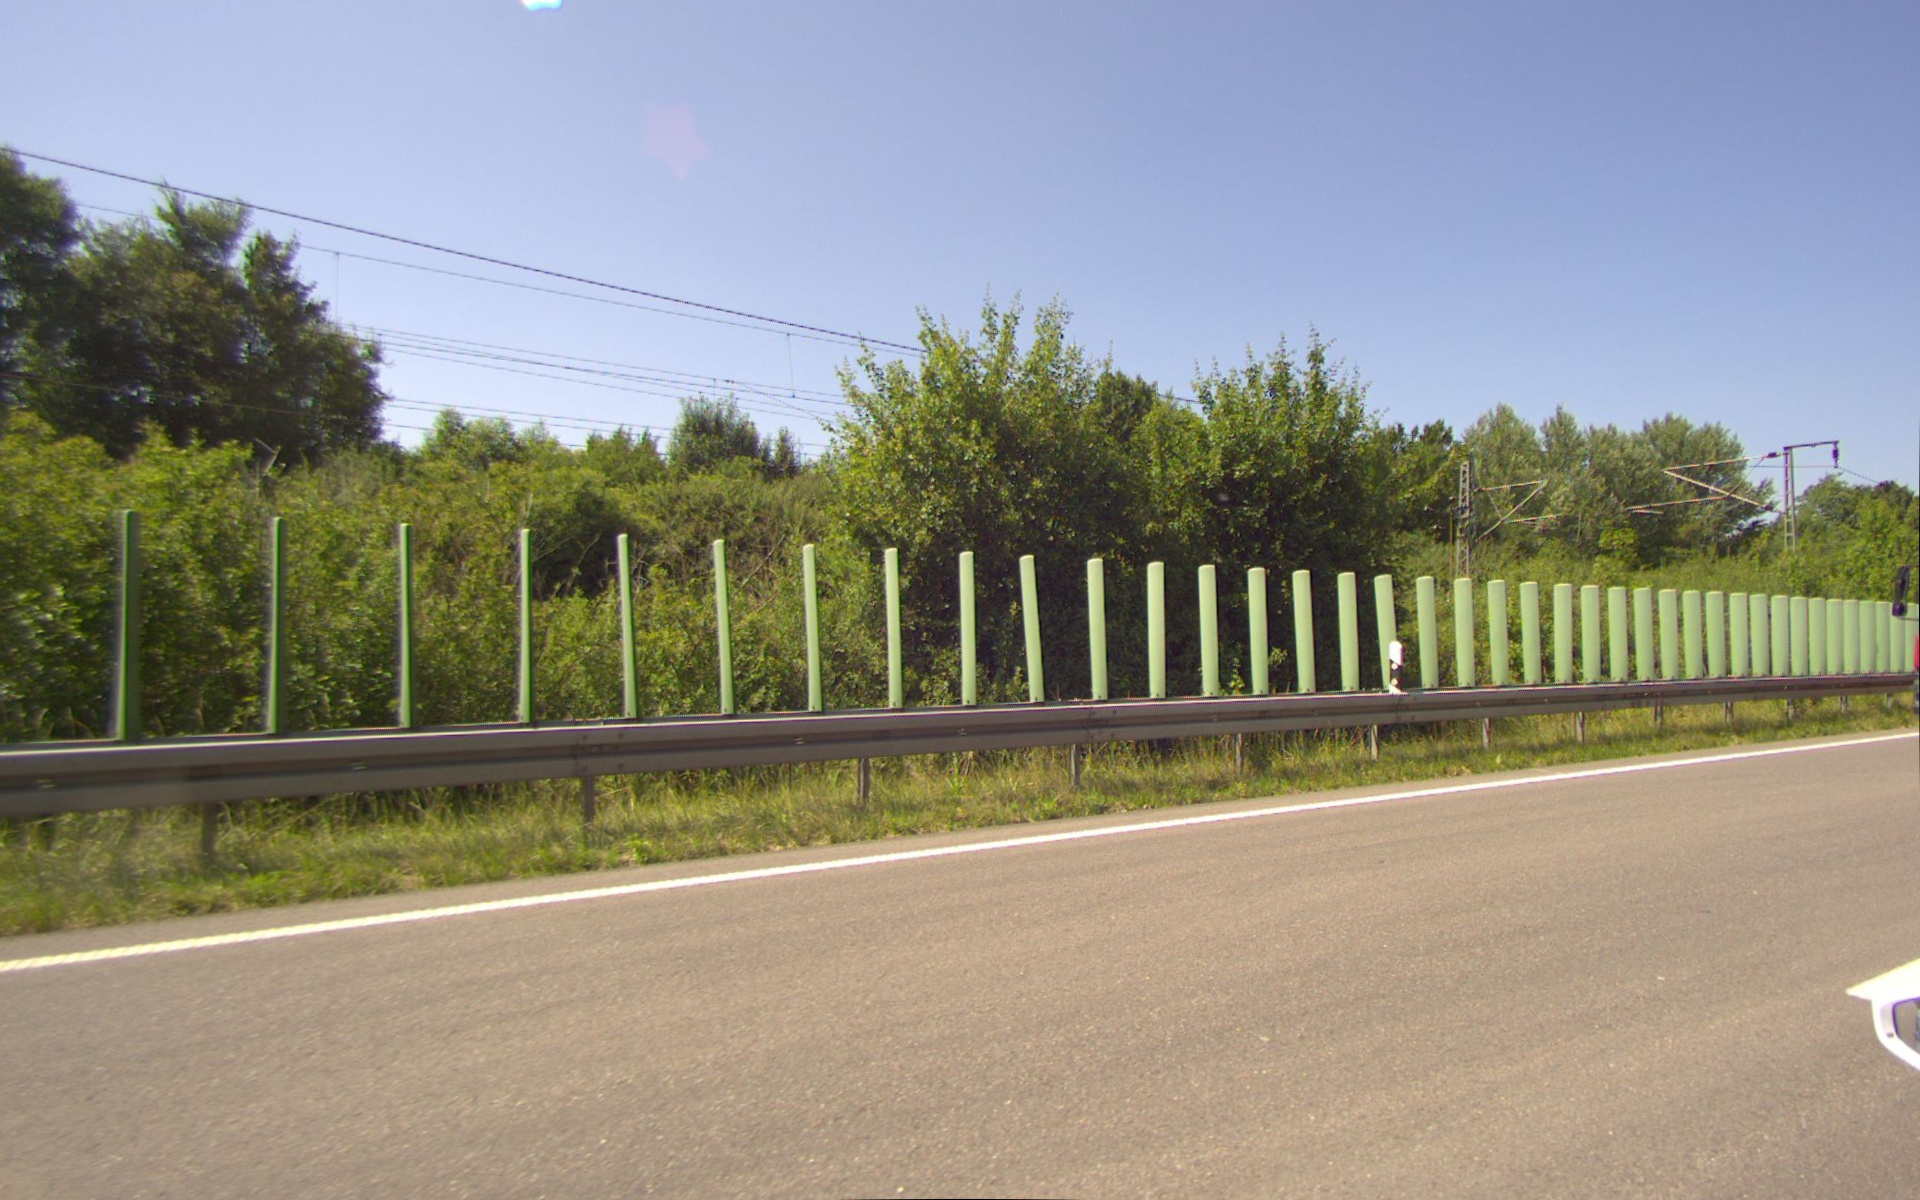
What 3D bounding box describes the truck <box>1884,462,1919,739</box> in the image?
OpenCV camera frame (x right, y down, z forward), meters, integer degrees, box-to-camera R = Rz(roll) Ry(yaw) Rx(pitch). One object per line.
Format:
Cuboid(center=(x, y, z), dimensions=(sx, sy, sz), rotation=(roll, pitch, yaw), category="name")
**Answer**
Cuboid(center=(17.183, 0.093, 14.787), dimensions=(9.417, 3.647, 2.720), rotation=(1, -1, -31), category="truck")
